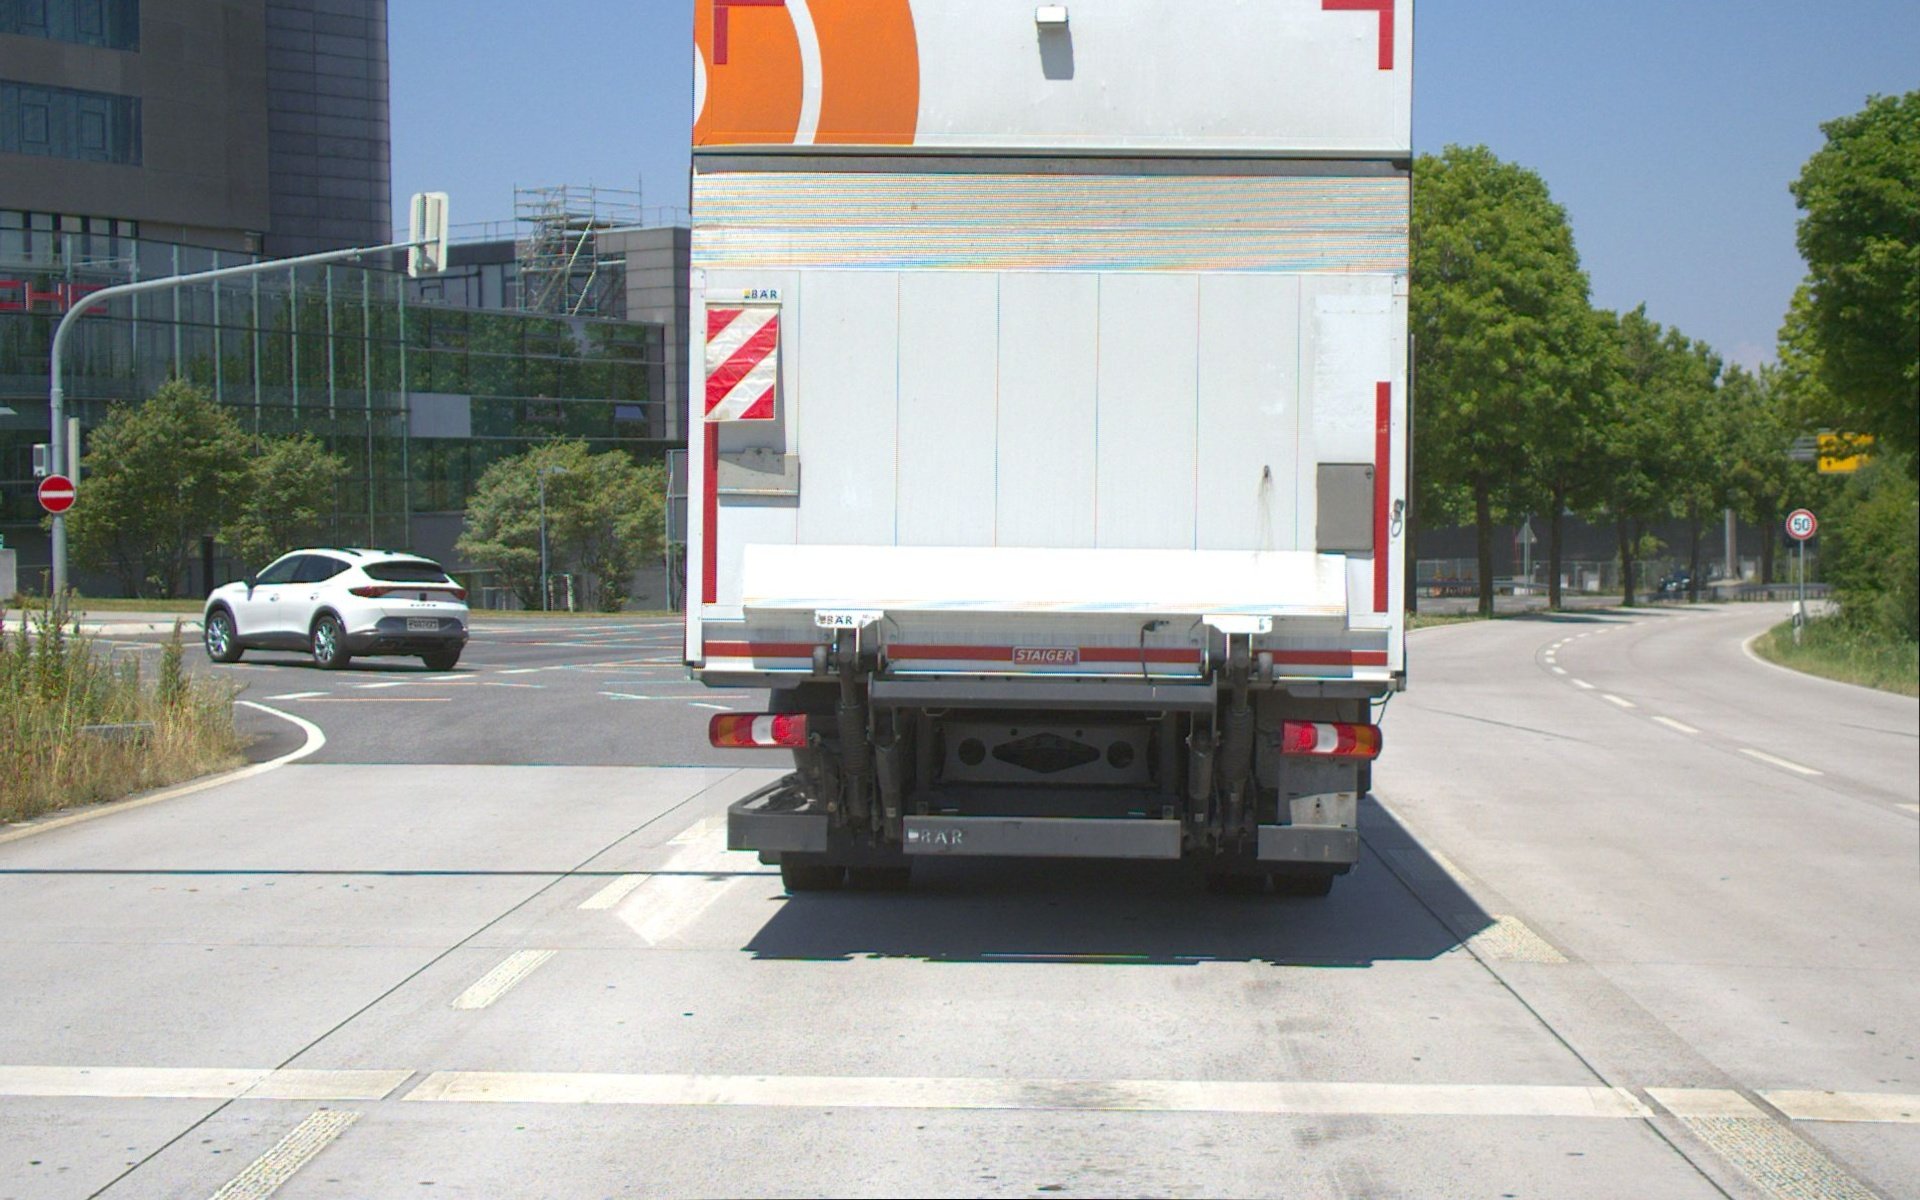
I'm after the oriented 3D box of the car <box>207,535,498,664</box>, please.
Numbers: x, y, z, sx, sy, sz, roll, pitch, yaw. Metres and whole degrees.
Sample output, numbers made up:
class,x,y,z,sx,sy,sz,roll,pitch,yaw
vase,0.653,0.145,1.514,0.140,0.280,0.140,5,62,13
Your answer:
class,x,y,z,sx,sy,sz,roll,pitch,yaw
car,-7.728,-0.029,43.494,1.803,1.551,3.998,0,1,-41

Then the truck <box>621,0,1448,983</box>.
class,x,y,z,sx,sy,sz,roll,pitch,yaw
truck,0.466,-0.680,16.455,2.770,3.846,9.370,1,0,3
